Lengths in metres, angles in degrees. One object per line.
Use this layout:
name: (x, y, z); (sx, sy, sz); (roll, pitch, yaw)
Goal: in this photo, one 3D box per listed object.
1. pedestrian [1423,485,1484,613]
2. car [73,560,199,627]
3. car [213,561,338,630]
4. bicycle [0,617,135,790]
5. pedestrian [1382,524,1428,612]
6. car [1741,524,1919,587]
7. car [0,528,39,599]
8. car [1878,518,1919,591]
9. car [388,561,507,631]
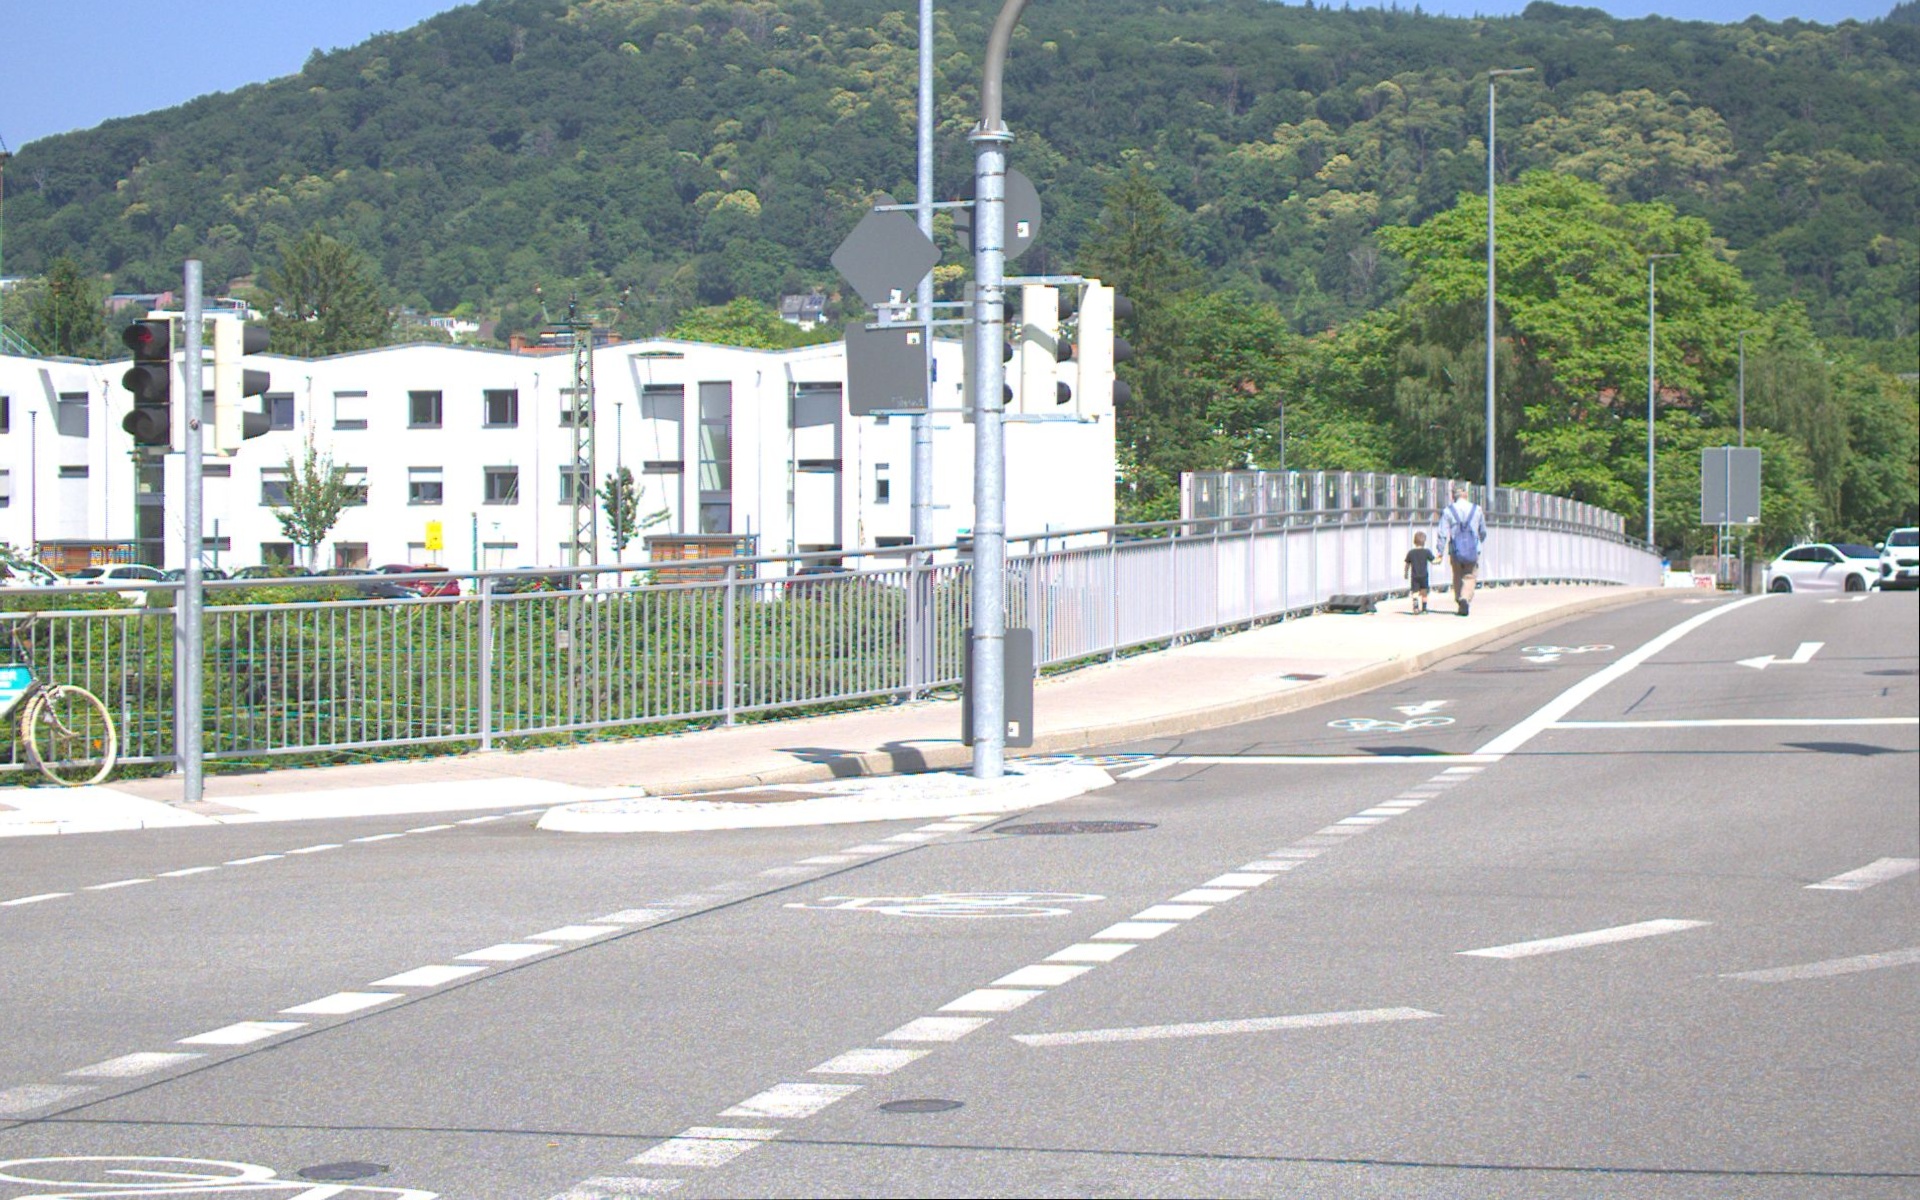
pedestrian: (6.298, -0.650, 43.869); (0.644, 1.612, 0.920); (0, 1, 16)
car: (-25.793, -0.233, 107.777); (1.995, 2.007, 4.468); (0, 1, 14)
car: (-20.809, -0.165, 104.694); (1.995, 2.007, 4.468); (0, 1, 14)
bicycle: (-6.190, 0.674, 22.338); (1.615, 1.097, 0.298); (-1, 1, -34)
pedestrian: (5.679, -0.416, 43.877); (0.511, 1.117, 0.476); (0, 1, 16)
car: (24.359, -1.275, 95.899); (1.994, 1.713, 5.062); (-1, 1, -34)
car: (-30.101, -1.094, 102.196); (4.974, 2.105, 2.000); (0, 1, -3)
car: (23.160, -1.117, 82.768); (1.995, 1.713, 4.630); (0, 1, 15)
car: (-15.377, -0.133, 103.371); (1.995, 2.007, 4.468); (0, 1, 14)
